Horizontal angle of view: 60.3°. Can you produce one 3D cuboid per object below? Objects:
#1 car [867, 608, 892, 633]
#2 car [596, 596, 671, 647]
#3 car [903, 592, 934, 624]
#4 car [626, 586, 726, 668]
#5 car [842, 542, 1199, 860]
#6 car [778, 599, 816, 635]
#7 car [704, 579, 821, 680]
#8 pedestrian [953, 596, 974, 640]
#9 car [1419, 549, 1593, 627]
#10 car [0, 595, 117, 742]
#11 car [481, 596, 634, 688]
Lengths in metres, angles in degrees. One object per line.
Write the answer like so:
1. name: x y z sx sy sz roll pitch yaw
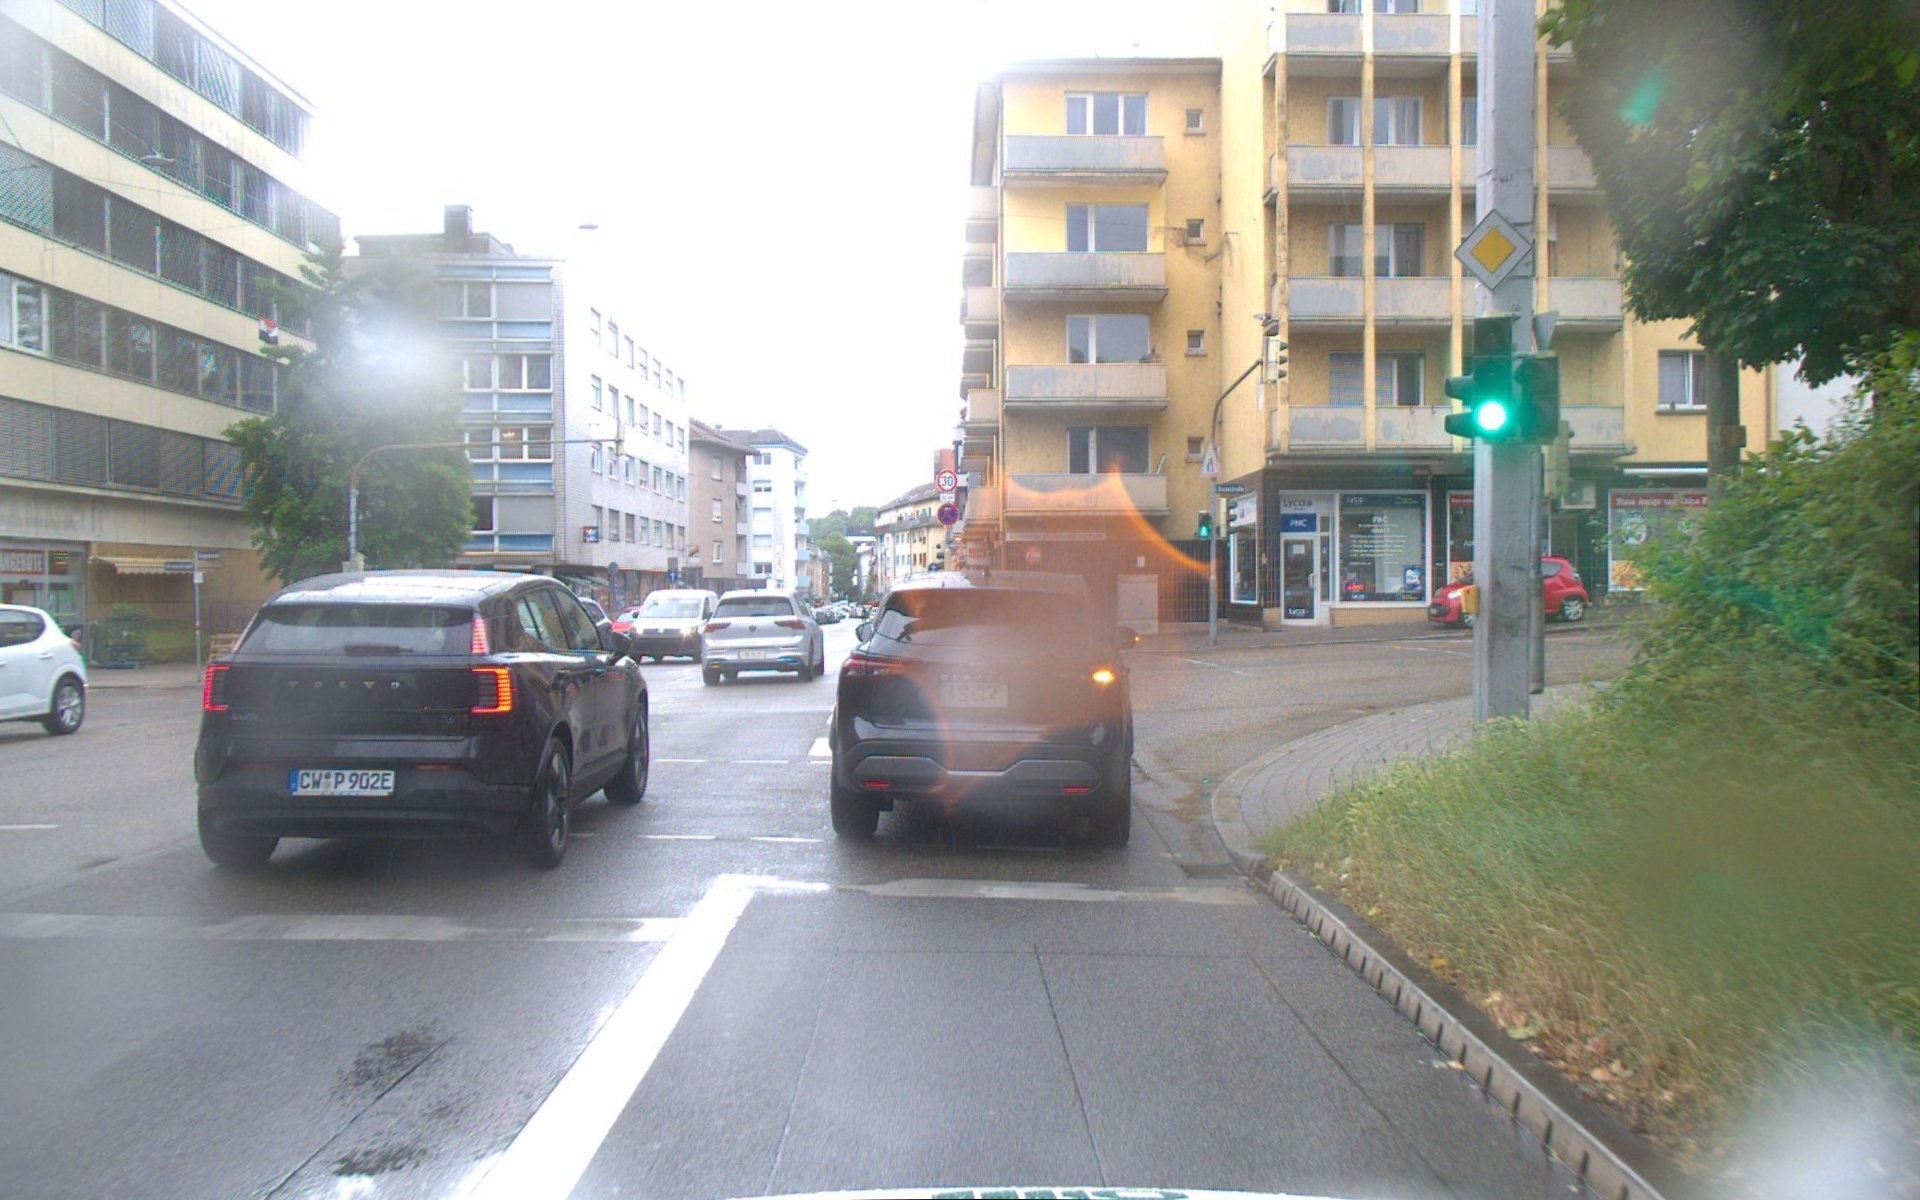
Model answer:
1. car: -7.265 1.847 150.182 1.953 2.049 4.000 -2 0 0
2. car: -10.310 0.657 52.479 1.770 1.434 4.388 -3 0 -5
3. car: -2.885 0.526 113.955 1.954 2.048 3.997 -3 0 -3
4. car: -7.005 0.628 41.175 1.743 1.847 4.405 -2 0 -1
5. car: 0.457 0.544 11.066 1.918 1.681 4.002 2 0 4
6. car: -9.900 1.031 100.626 1.871 2.048 3.999 -3 0 -1
7. car: -3.158 0.428 26.900 1.733 1.469 3.995 -1 0 -6
8. pedestrian: 0.120 0.656 60.294 0.688 1.585 0.630 0 0 8
9. car: 12.297 -0.287 37.369 3.402 1.584 1.472 -3 1 -3
10. car: -11.106 0.797 17.660 1.952 1.520 4.089 -4 1 1
11. car: -7.355 0.717 30.579 1.750 1.517 3.814 -2 0 1
